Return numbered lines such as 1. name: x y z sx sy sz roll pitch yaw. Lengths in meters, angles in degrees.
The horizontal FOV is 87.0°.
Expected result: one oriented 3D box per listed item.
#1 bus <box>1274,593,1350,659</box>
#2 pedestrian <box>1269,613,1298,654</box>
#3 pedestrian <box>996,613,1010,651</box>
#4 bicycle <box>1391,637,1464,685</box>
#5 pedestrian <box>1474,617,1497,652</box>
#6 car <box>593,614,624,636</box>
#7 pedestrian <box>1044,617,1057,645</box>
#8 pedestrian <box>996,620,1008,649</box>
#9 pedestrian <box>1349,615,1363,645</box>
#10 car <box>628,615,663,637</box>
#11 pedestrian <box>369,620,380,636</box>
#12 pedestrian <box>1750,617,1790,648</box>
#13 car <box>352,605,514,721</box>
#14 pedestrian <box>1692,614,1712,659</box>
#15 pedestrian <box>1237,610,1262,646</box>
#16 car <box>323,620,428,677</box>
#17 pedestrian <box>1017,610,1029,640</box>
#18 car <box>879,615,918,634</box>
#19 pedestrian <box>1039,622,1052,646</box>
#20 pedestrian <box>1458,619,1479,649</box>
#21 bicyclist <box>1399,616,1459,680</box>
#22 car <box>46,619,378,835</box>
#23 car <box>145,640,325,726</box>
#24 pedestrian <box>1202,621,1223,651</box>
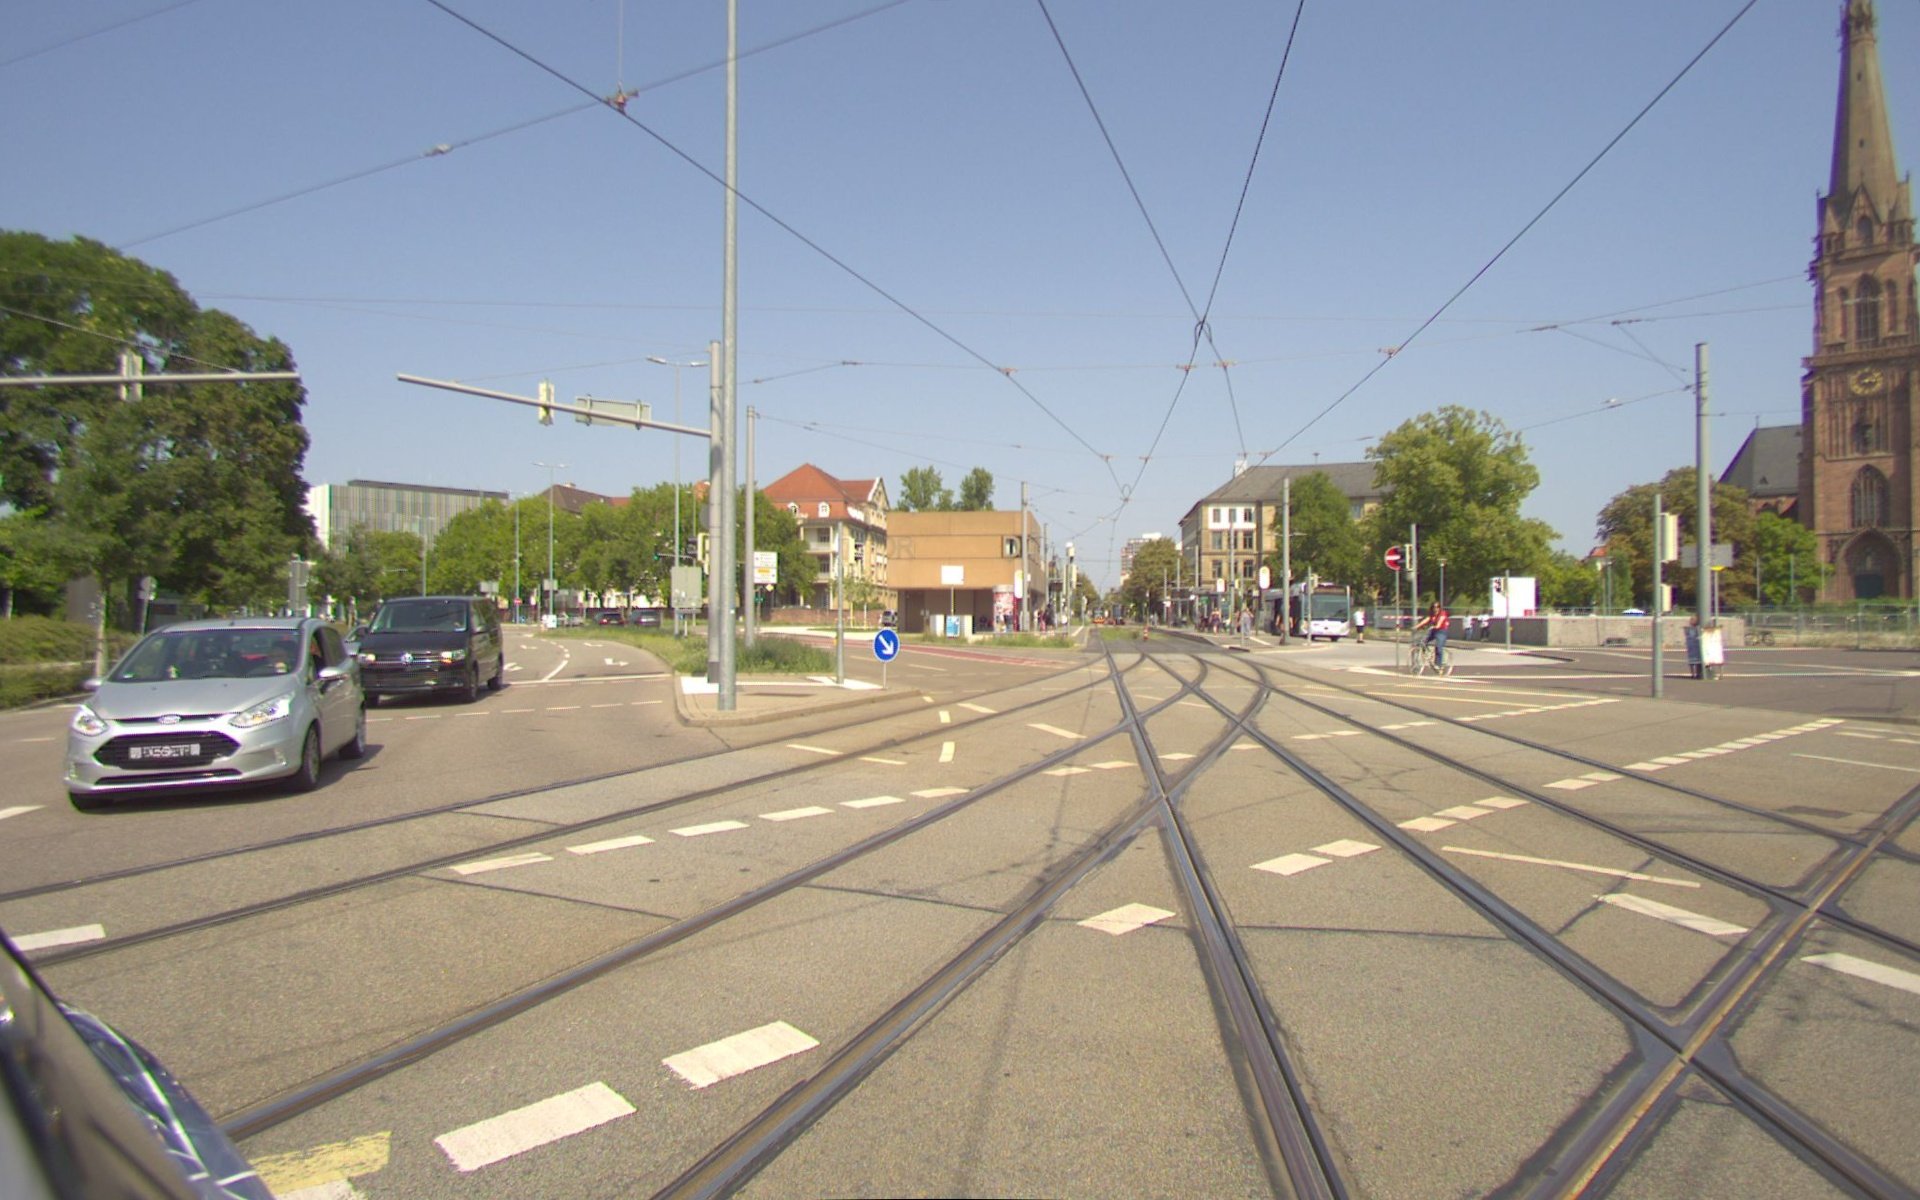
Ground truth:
1. bus: 19.881 1.414 57.876 2.651 3.356 12.704 0 -1 13
2. pedestrian: 14.463 1.484 45.230 0.943 1.793 0.788 2 -2 -33
3. pedestrian: 2.095 1.542 49.306 0.551 1.830 0.562 0 -1 -17
4. bicycle: 11.029 1.417 23.857 1.880 1.077 0.616 0 -2 -32
5. pedestrian: 26.412 1.710 50.864 0.774 1.741 0.678 0 -1 4
6. car: -25.577 1.817 73.669 1.651 1.532 3.717 0 -1 -27
7. pedestrian: 5.356 1.826 59.939 0.562 1.658 0.513 -1 0 -33
8. pedestrian: 2.018 1.667 48.742 0.454 1.385 0.350 0 -1 -17
9. pedestrian: 20.175 1.533 51.583 0.572 1.540 0.597 1 -2 16
10. car: -23.947 1.952 77.060 1.870 1.665 4.672 0 -1 -26
11. pedestrian: -64.515 3.101 111.551 0.952 1.799 1.120 1 -1 -27
12. pedestrian: 40.026 1.594 50.031 0.605 1.497 1.698 0 -1 -1
13. car: -10.016 1.116 19.651 1.868 1.945 4.899 0 -1 -16
14. pedestrian: 27.978 1.372 38.161 0.573 1.671 0.791 -1 0 36
15. pedestrian: 14.756 1.436 51.633 0.943 1.793 0.788 2 -2 -33
16. car: -15.671 1.257 27.286 1.492 1.349 3.517 -1 0 -14
17. pedestrian: 3.589 1.445 57.799 0.572 1.688 0.585 -1 0 11
18. car: -6.575 2.587 108.219 1.999 1.985 3.945 -1 -2 41
19. pedestrian: 6.164 2.455 72.854 0.787 1.692 0.853 -1 0 11
20. pedestrian: 27.065 1.809 53.843 0.774 1.560 0.678 1 -1 4
21. bicyclist: 11.077 1.118 23.913 0.963 1.470 0.880 1 -2 -32
22. car: -6.941 0.994 9.911 1.663 1.607 4.375 1 -1 -24
23. car: -13.801 1.519 19.481 1.493 1.419 3.365 0 -1 -10
24. pedestrian: 15.331 2.150 61.399 0.772 1.793 0.962 2 -2 -30
